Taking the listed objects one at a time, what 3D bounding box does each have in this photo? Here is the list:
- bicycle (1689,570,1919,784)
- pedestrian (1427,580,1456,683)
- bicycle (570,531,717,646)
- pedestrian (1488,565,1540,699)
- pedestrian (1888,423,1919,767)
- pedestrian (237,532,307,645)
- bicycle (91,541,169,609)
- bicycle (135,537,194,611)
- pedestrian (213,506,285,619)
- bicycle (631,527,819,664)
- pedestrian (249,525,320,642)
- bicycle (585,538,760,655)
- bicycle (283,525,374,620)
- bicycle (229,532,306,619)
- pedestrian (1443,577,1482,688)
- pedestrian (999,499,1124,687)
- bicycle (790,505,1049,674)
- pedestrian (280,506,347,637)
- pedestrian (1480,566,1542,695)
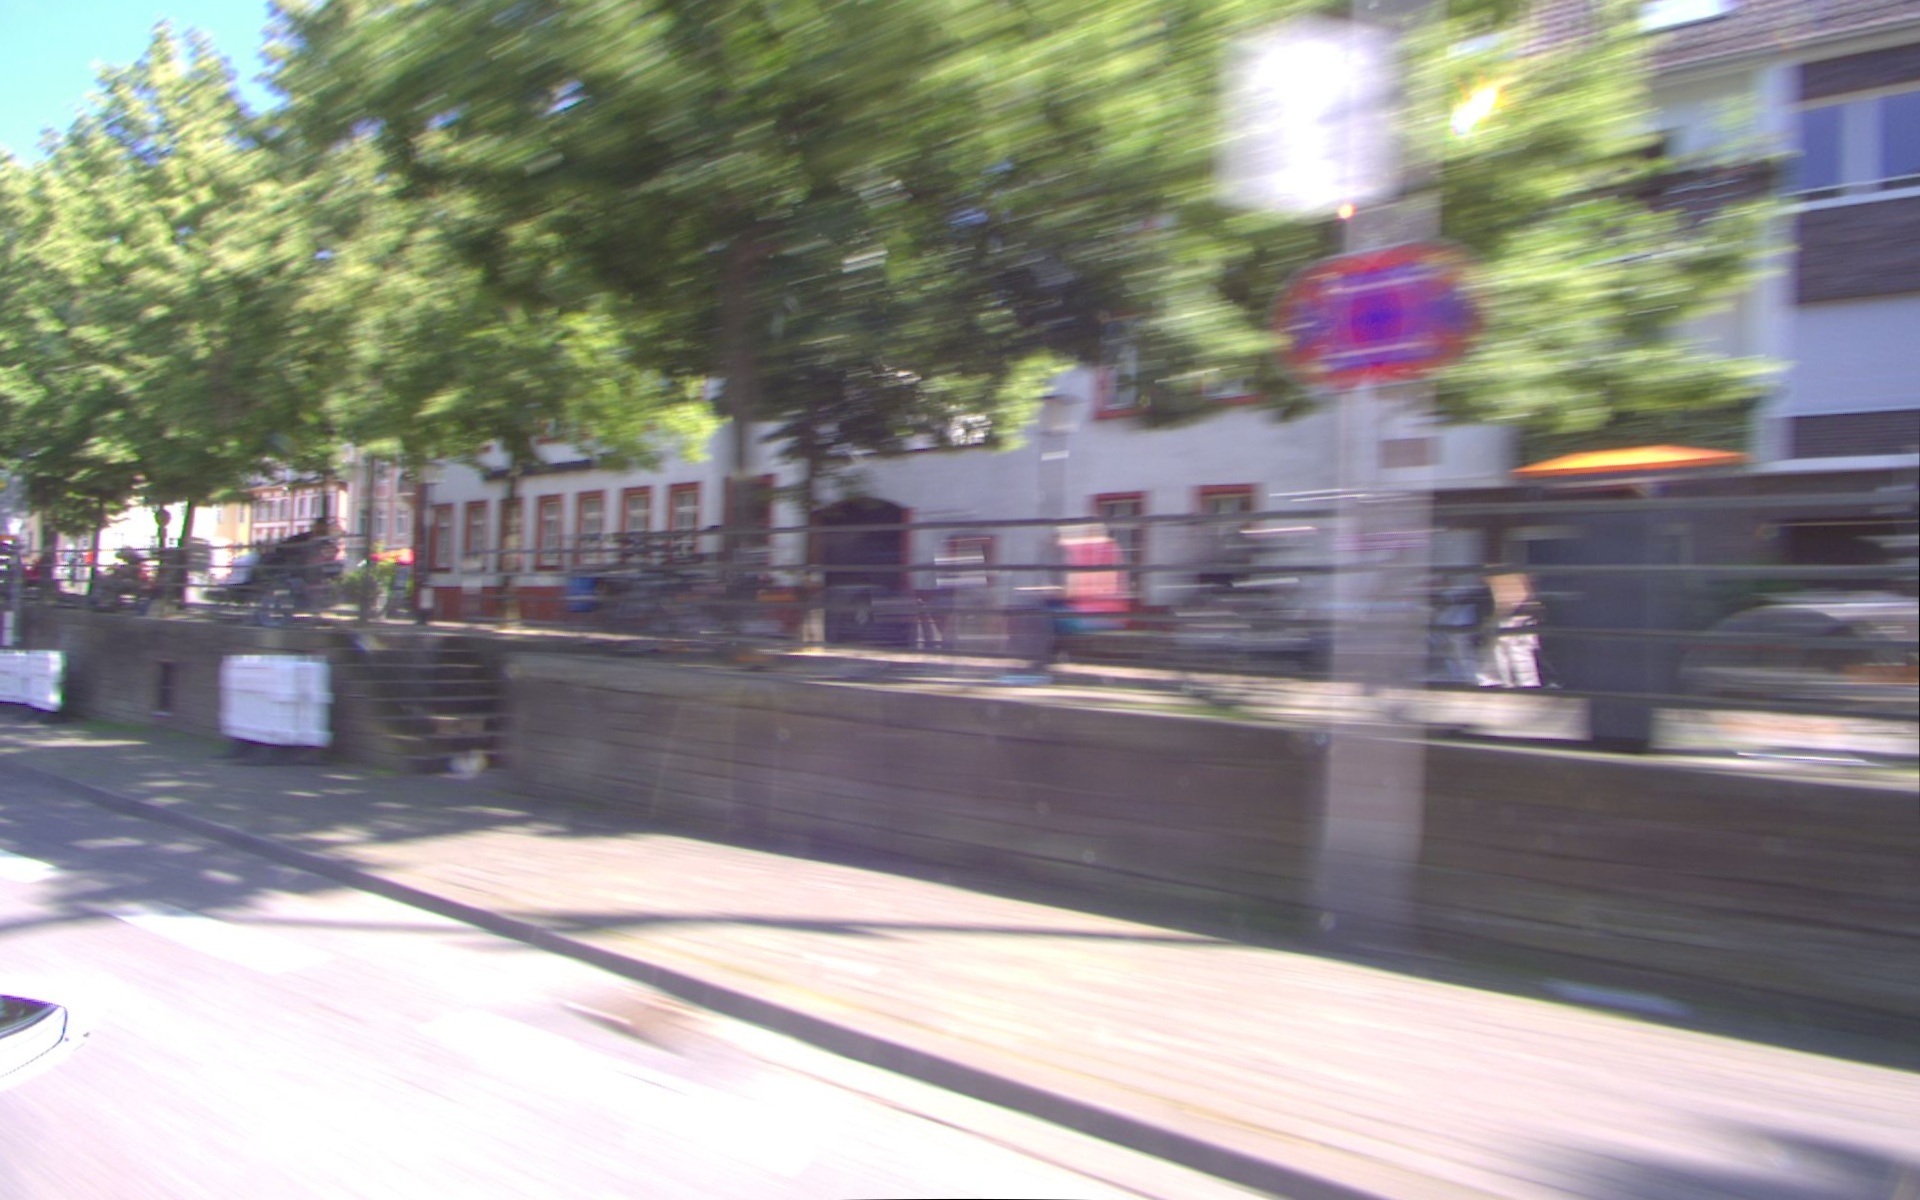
[{"bbox_3d":[3.885,0.291,3.705,1.892,0.794,0.349,0,-2,33],"label":"bicycle"},{"bbox_3d":[7.180,0.473,14.926,0.321,1.502,0.343,0,-3,37],"label":"pedestrian"},{"bbox_3d":[-3.427,-0.111,10.752,1.907,1.155,0.381,1,-1,35],"label":"bicycle"},{"bbox_3d":[7.068,0.415,12.776,0.495,1.655,0.538,0,-3,37],"label":"pedestrian"},{"bbox_3d":[4.434,-0.014,4.205,0.687,1.433,0.666,0,-2,34],"label":"pedestrian"},{"bbox_3d":[-10.862,-0.160,15.818,0.565,1.742,0.717,0,-2,35],"label":"pedestrian"},{"bbox_3d":[-14.323,-0.404,17.265,1.707,1.120,0.410,0,-1,28],"label":"bicycle"},{"bbox_3d":[-12.778,-0.389,16.071,1.714,1.120,0.408,-1,-2,40],"label":"bicycle"},{"bbox_3d":[-11.415,-0.577,16.088,0.702,1.742,0.716,0,-2,35],"label":"pedestrian"},{"bbox_3d":[-1.931,-0.036,8.076,1.834,1.017,0.297,1,-1,35],"label":"bicycle"},{"bbox_3d":[-10.391,-0.229,15.415,0.565,1.742,0.717,0,-2,35],"label":"pedestrian"},{"bbox_3d":[-2.678,0.007,9.542,0.294,1.017,1.851,1,-2,32],"label":"bicycle"},{"bbox_3d":[-8.062,-0.313,12.755,1.901,1.120,0.408,-1,-2,40],"label":"bicycle"},{"bbox_3d":[-9.465,-0.302,13.661,1.714,1.120,0.408,-1,-2,40],"label":"bicycle"},{"bbox_3d":[6.938,0.454,13.808,0.384,1.502,0.507,0,-3,37],"label":"pedestrian"},{"bbox_3d":[0.750,-0.035,7.300,0.660,1.281,0.694,0,-2,31],"label":"pedestrian"},{"bbox_3d":[-0.323,-0.062,6.694,1.914,1.017,0.297,1,-1,35],"label":"bicycle"},{"bbox_3d":[-11.317,-0.474,17.536,0.702,2.217,0.716,0,-2,35],"label":"pedestrian"},{"bbox_3d":[6.841,0.386,12.431,0.600,1.564,0.466,0,-3,37],"label":"pedestrian"}]
